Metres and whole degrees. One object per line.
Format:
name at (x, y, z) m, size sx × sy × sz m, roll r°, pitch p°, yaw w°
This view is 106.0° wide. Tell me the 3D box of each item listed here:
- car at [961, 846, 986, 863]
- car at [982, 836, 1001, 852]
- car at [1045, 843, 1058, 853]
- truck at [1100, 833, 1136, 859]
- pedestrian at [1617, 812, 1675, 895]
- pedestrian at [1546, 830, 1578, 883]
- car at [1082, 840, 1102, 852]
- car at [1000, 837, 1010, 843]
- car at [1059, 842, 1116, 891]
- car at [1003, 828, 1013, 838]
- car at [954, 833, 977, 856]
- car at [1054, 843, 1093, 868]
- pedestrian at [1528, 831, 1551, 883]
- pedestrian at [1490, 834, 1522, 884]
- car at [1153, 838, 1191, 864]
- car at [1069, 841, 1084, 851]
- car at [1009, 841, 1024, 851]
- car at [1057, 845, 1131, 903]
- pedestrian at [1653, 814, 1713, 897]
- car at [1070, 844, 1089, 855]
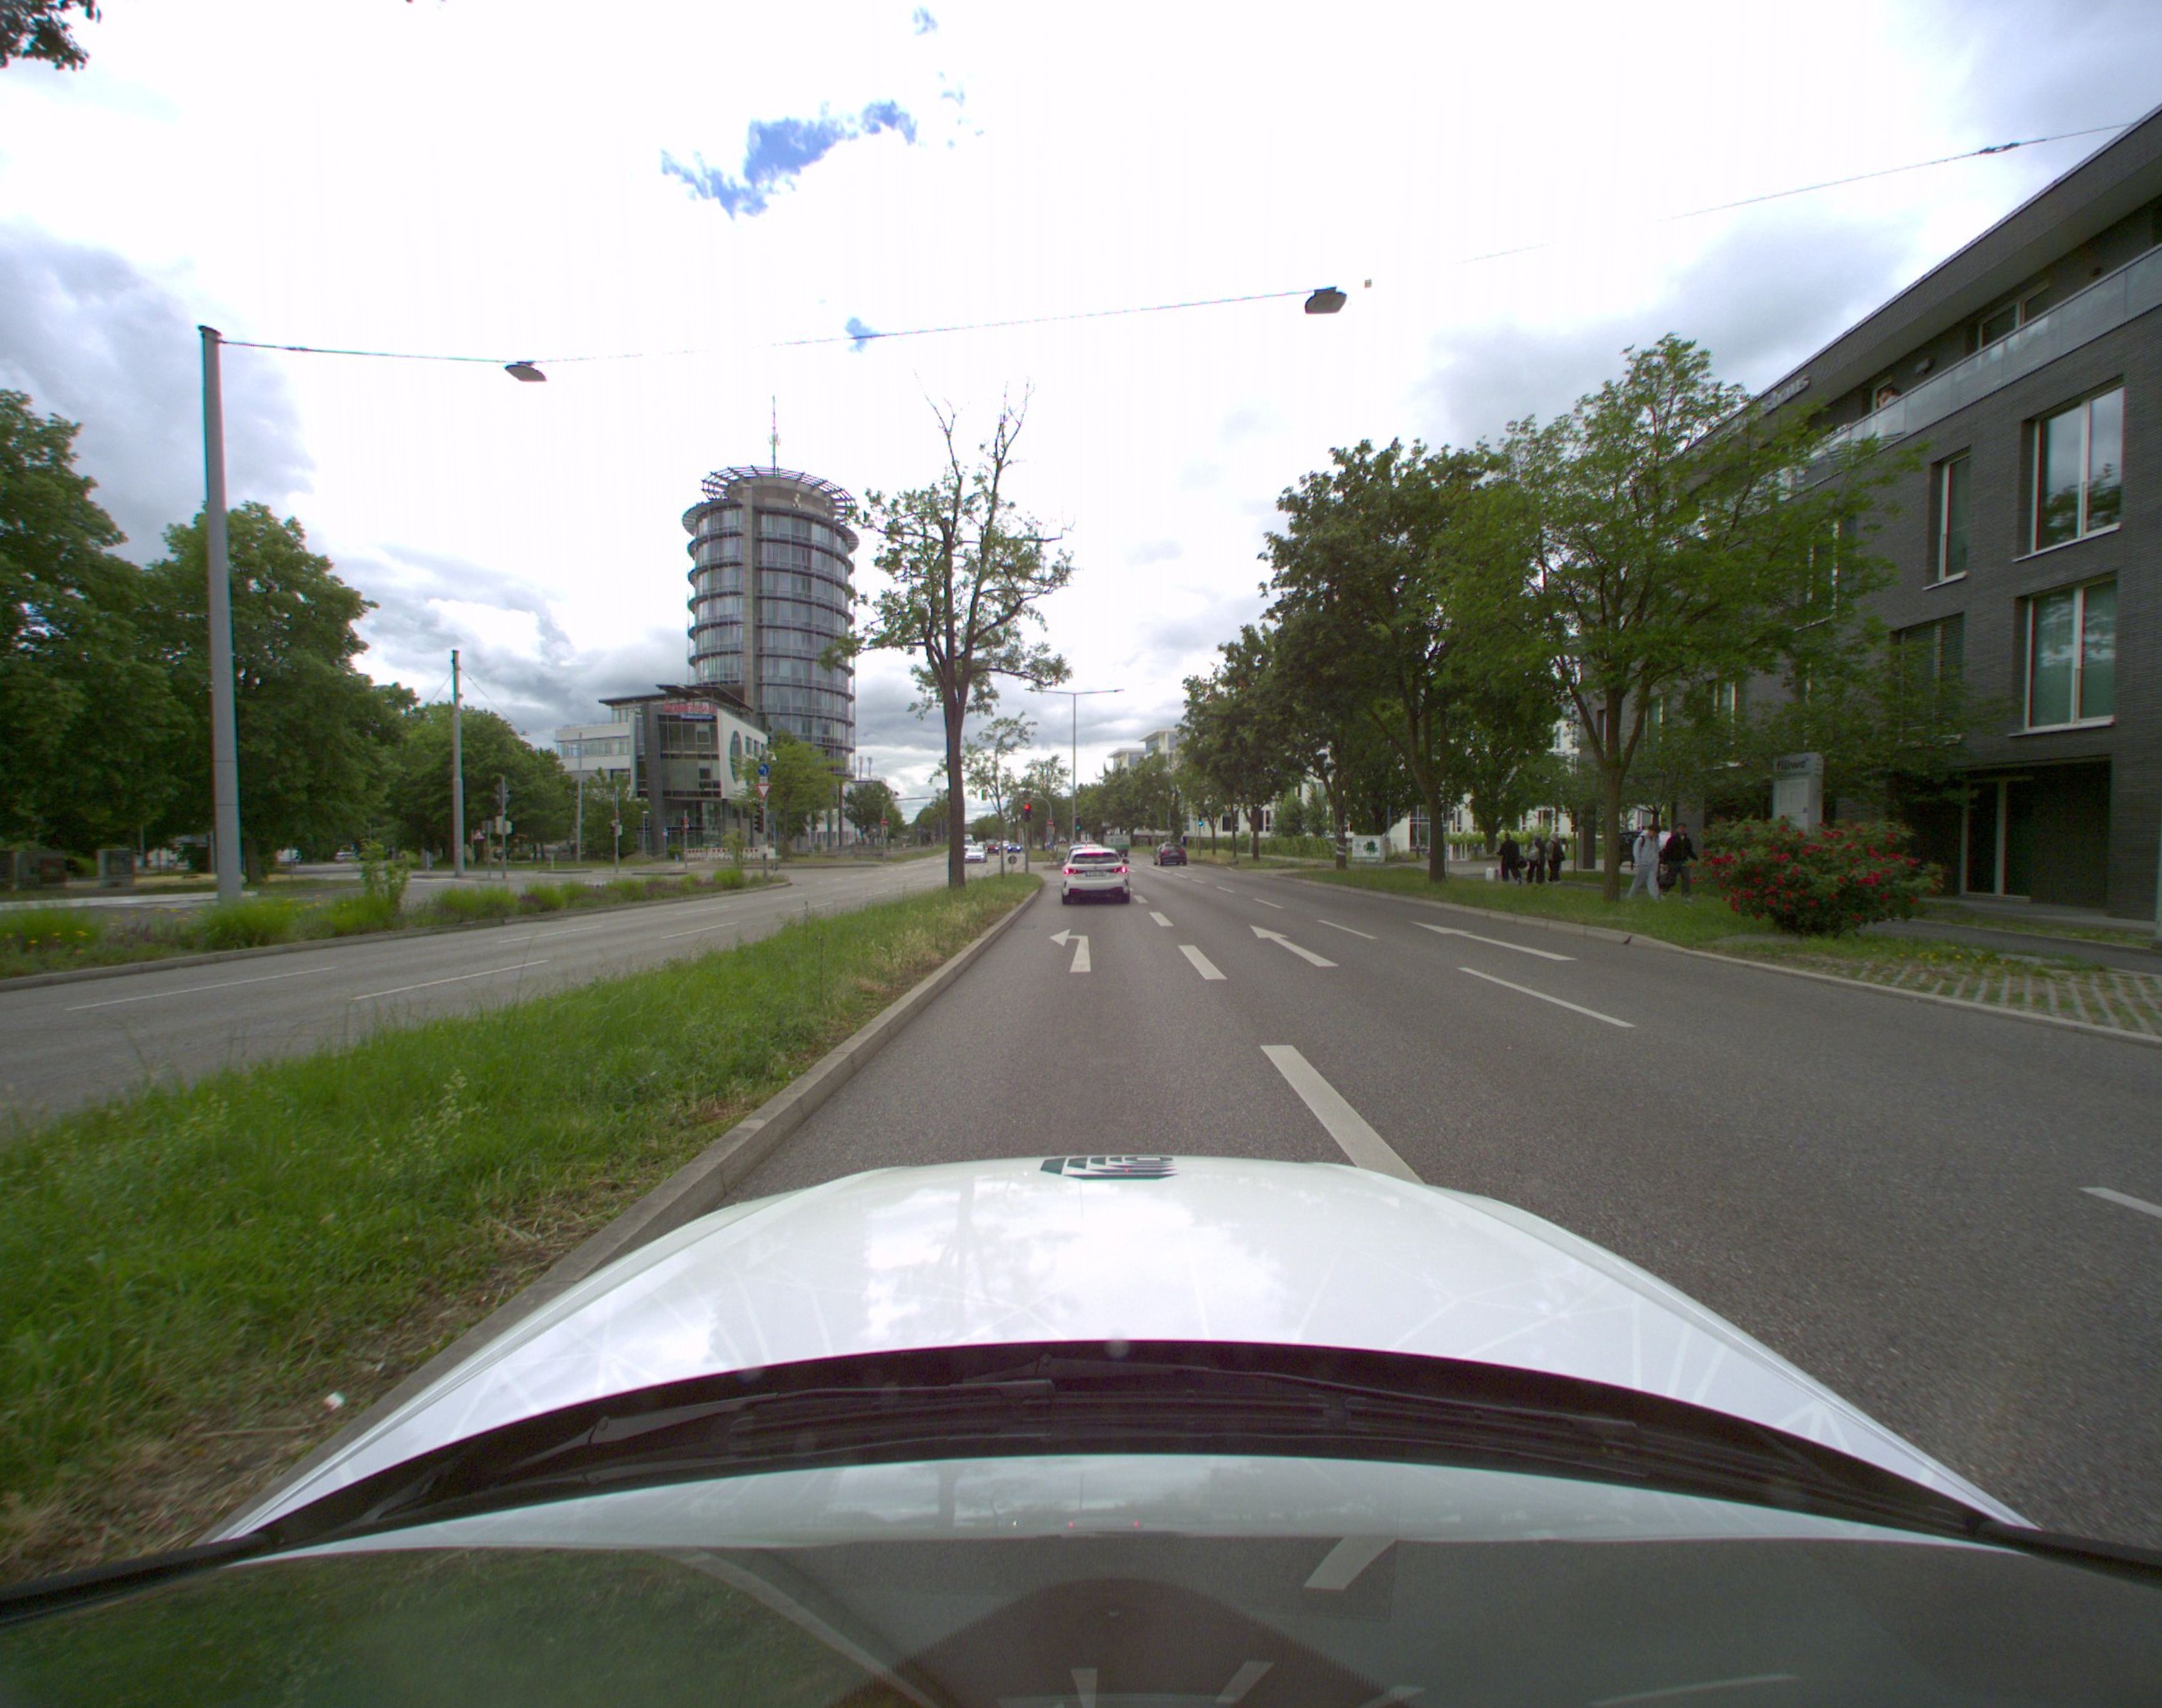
car at (-9.272, 0.016, 70.535) m, size 1.748 × 1.444 × 4.131 m, roll 1°, pitch 1°, yaw -2°
car at (-11.350, -1.246, 103.759) m, size 1.929 × 1.918 × 4.972 m, roll -1°, pitch 0°, yaw 0°
car at (-4.646, -0.987, 127.552) m, size 1.988 × 1.490 × 3.997 m, roll 0°, pitch 1°, yaw -2°
truck at (3.673, -0.836, 82.558) m, size 2.855 × 2.519 × 6.275 m, roll 0°, pitch 0°, yaw -6°
pedestrian at (12.449, -0.029, 17.972) m, size 0.606 × 1.775 × 0.954 m, roll 0°, pitch 3°, yaw 1°
pedestrian at (14.478, 0.072, 24.530) m, size 0.586 × 1.552 × 0.745 m, roll 0°, pitch 0°, yaw 6°
car at (1.320, -1.023, 102.404) m, size 1.991 × 1.508 × 3.991 m, roll -1°, pitch 1°, yaw -7°
car at (-19.177, -3.485, 205.778) m, size 1.987 × 1.618 × 4.000 m, roll 1°, pitch 1°, yaw 0°
car at (0.275, 0.419, 30.308) m, size 1.986 × 1.672 × 4.001 m, roll 0°, pitch 0°, yaw 1°
car at (-16.959, -4.857, 188.516) m, size 1.988 × 2.010 × 4.321 m, roll 1°, pitch 1°, yaw -2°
car at (-13.835, -1.139, 97.862) m, size 1.988 × 2.634 × 5.871 m, roll 1°, pitch 1°, yaw -2°
car at (-0.439, 0.089, 51.706) m, size 1.983 × 1.508 × 4.007 m, roll 0°, pitch 0°, yaw 6°
pedestrian at (13.809, 0.078, 24.543) m, size 0.407 × 1.552 × 0.562 m, roll 0°, pitch 0°, yaw 6°
pedestrian at (13.349, 0.147, 25.610) m, size 0.722 × 1.552 × 0.588 m, roll 0°, pitch 0°, yaw 5°
car at (5.824, -0.183, 52.488) m, size 1.987 × 1.596 × 3.999 m, roll 0°, pitch 1°, yaw 0°
car at (-0.694, -1.142, 120.109) m, size 1.988 × 1.490 × 3.997 m, roll 0°, pitch 1°, yaw -2°
car at (-9.001, -1.115, 114.062) m, size 1.748 × 1.371 × 3.780 m, roll -1°, pitch 1°, yaw 0°
car at (0.441, 0.502, 22.667) m, size 1.855 × 1.449 × 4.003 m, roll 0°, pitch 0°, yaw 3°
pedestrian at (13.289, 0.016, 18.012) m, size 0.606 × 1.775 × 0.954 m, roll 0°, pitch 3°, yaw 1°
car at (-0.217, -0.701, 117.630) m, size 1.994 × 1.508 × 3.986 m, roll -1°, pitch 1°, yaw -10°
